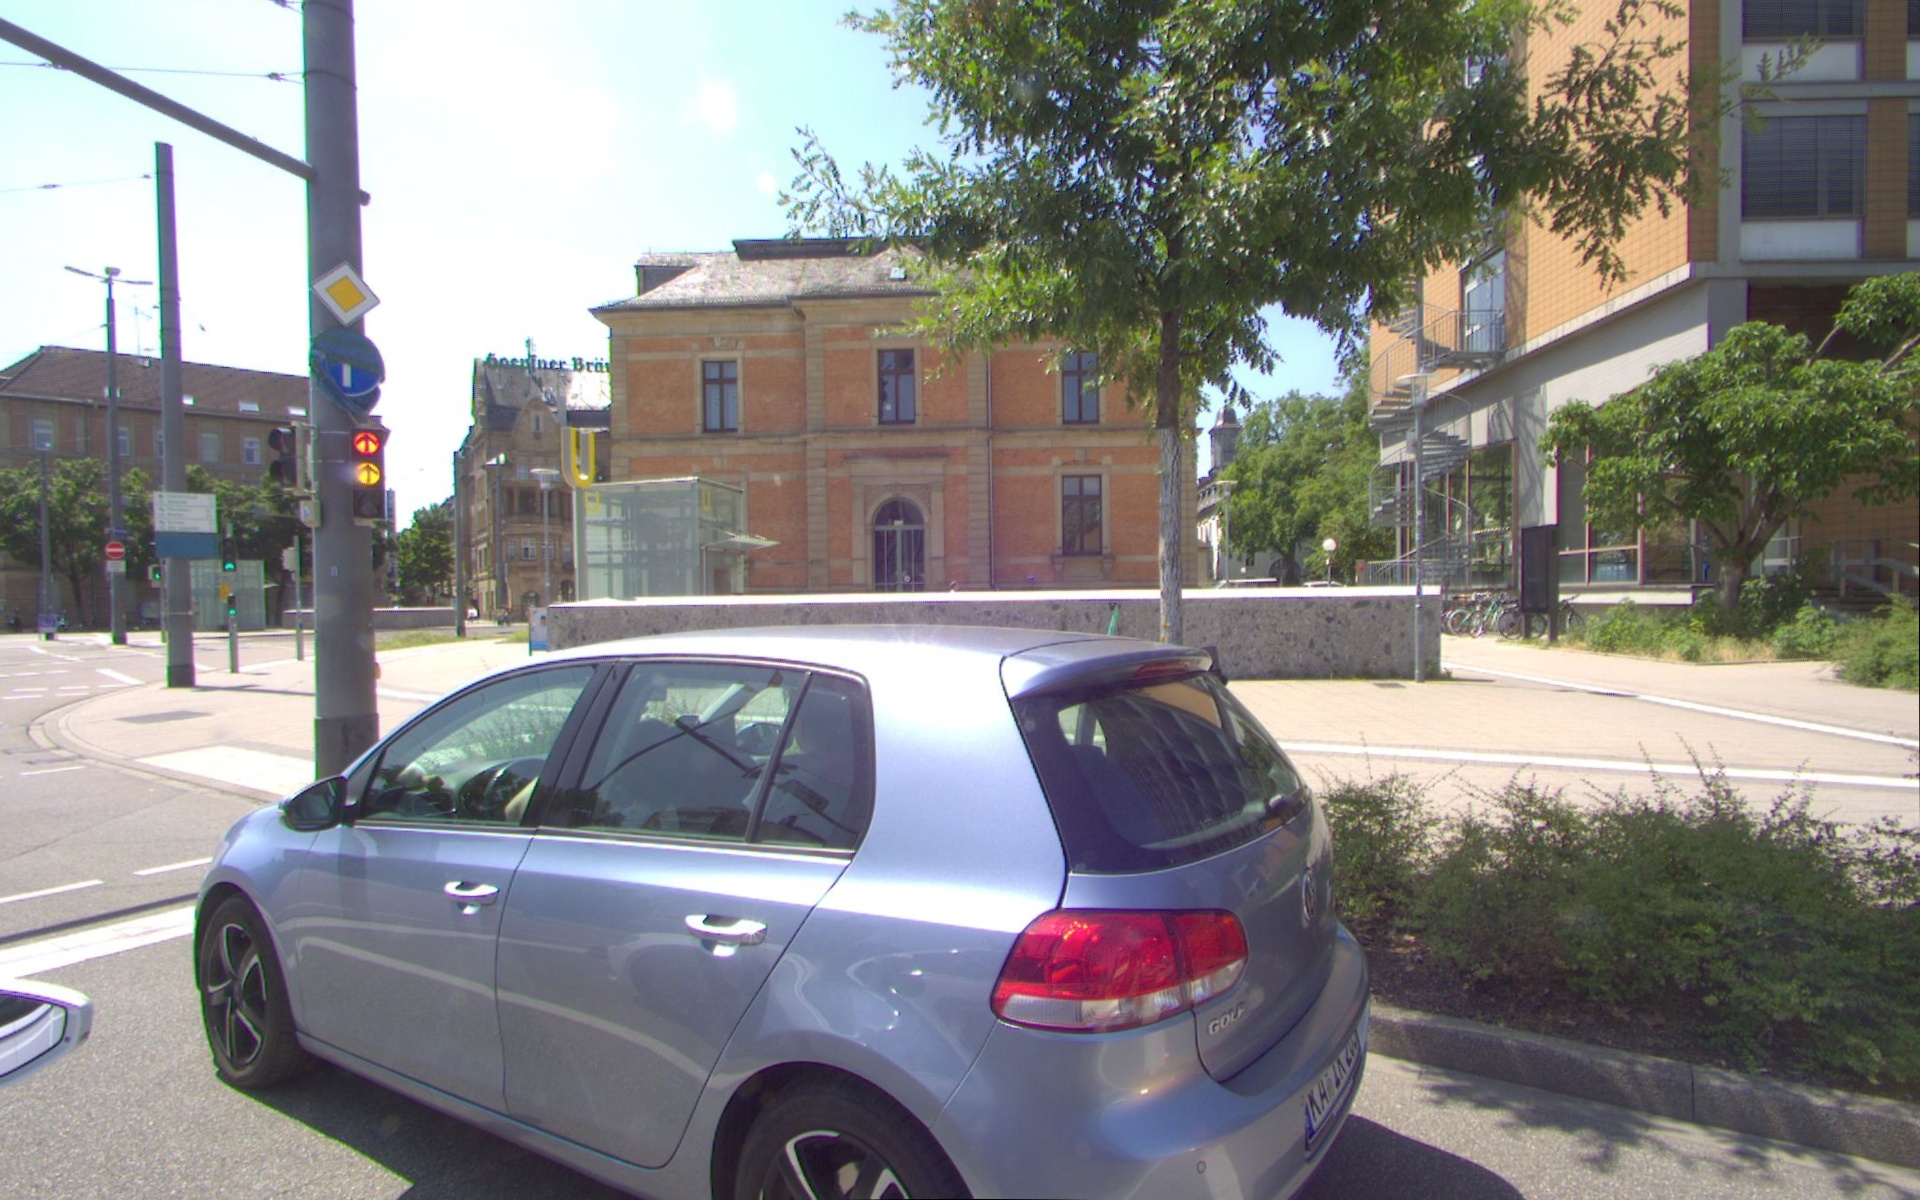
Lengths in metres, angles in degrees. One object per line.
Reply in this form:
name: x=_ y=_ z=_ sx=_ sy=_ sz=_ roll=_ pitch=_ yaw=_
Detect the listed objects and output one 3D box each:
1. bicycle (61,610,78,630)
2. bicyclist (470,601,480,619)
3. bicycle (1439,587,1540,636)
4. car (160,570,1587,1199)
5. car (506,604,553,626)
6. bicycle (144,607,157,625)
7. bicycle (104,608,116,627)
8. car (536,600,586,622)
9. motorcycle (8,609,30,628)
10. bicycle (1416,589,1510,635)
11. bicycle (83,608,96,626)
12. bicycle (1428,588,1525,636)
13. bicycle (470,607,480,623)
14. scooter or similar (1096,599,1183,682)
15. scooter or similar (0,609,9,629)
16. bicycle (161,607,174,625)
bicycle: x=-54.765 y=1.245 z=61.558 sx=2.069 sy=1.160 sz=0.440 roll=-2 pitch=-2 yaw=39
bicyclist: x=-44.078 y=0.907 z=91.038 sx=0.729 sy=1.631 sz=1.072 roll=0 pitch=-2 yaw=-30
bicycle: x=13.523 y=0.307 z=25.619 sx=2.175 sy=1.234 sz=0.637 roll=0 pitch=-1 yaw=5
car: x=-0.508 y=0.739 z=2.940 sx=3.945 sy=1.478 sz=1.649 roll=0 pitch=-1 yaw=32
car: x=-33.691 y=1.137 z=78.463 sx=1.662 sy=1.626 sz=3.651 roll=0 pitch=0 yaw=8
bicycle: x=-52.357 y=1.032 z=64.757 sx=0.547 sy=1.135 sz=1.854 roll=-1 pitch=1 yaw=-41
bicycle: x=-53.396 y=1.102 z=62.890 sx=0.547 sy=1.135 sz=1.804 roll=-1 pitch=1 yaw=-41
car: x=-30.381 y=0.803 z=76.445 sx=1.662 sy=1.626 sz=4.191 roll=0 pitch=0 yaw=8
motorcycle: x=-56.150 y=1.094 z=59.736 sx=1.920 sy=1.089 sz=0.578 roll=0 pitch=1 yaw=36
bicycle: x=13.649 y=0.332 z=27.212 sx=2.175 sy=1.234 sz=0.637 roll=0 pitch=-1 yaw=5
bicycle: x=-53.996 y=1.037 z=62.106 sx=0.547 sy=1.135 sz=1.804 roll=-1 pitch=1 yaw=-41
bicycle: x=13.609 y=0.331 z=26.439 sx=2.175 sy=1.234 sz=0.637 roll=0 pitch=-1 yaw=5
bicycle: x=-44.093 y=1.374 z=91.038 sx=0.729 sy=1.416 sz=2.004 roll=1 pitch=-2 yaw=-29
scooter or similar: x=2.642 y=0.586 z=14.729 sx=1.227 sy=1.186 sz=0.458 roll=0 pitch=1 yaw=13
scooter or similar: x=-58.677 y=1.164 z=60.421 sx=0.589 sy=1.197 sz=1.788 roll=0 pitch=0 yaw=21
bicycle: x=-52.027 y=1.046 z=65.704 sx=0.547 sy=1.135 sz=1.912 roll=-1 pitch=1 yaw=-41
